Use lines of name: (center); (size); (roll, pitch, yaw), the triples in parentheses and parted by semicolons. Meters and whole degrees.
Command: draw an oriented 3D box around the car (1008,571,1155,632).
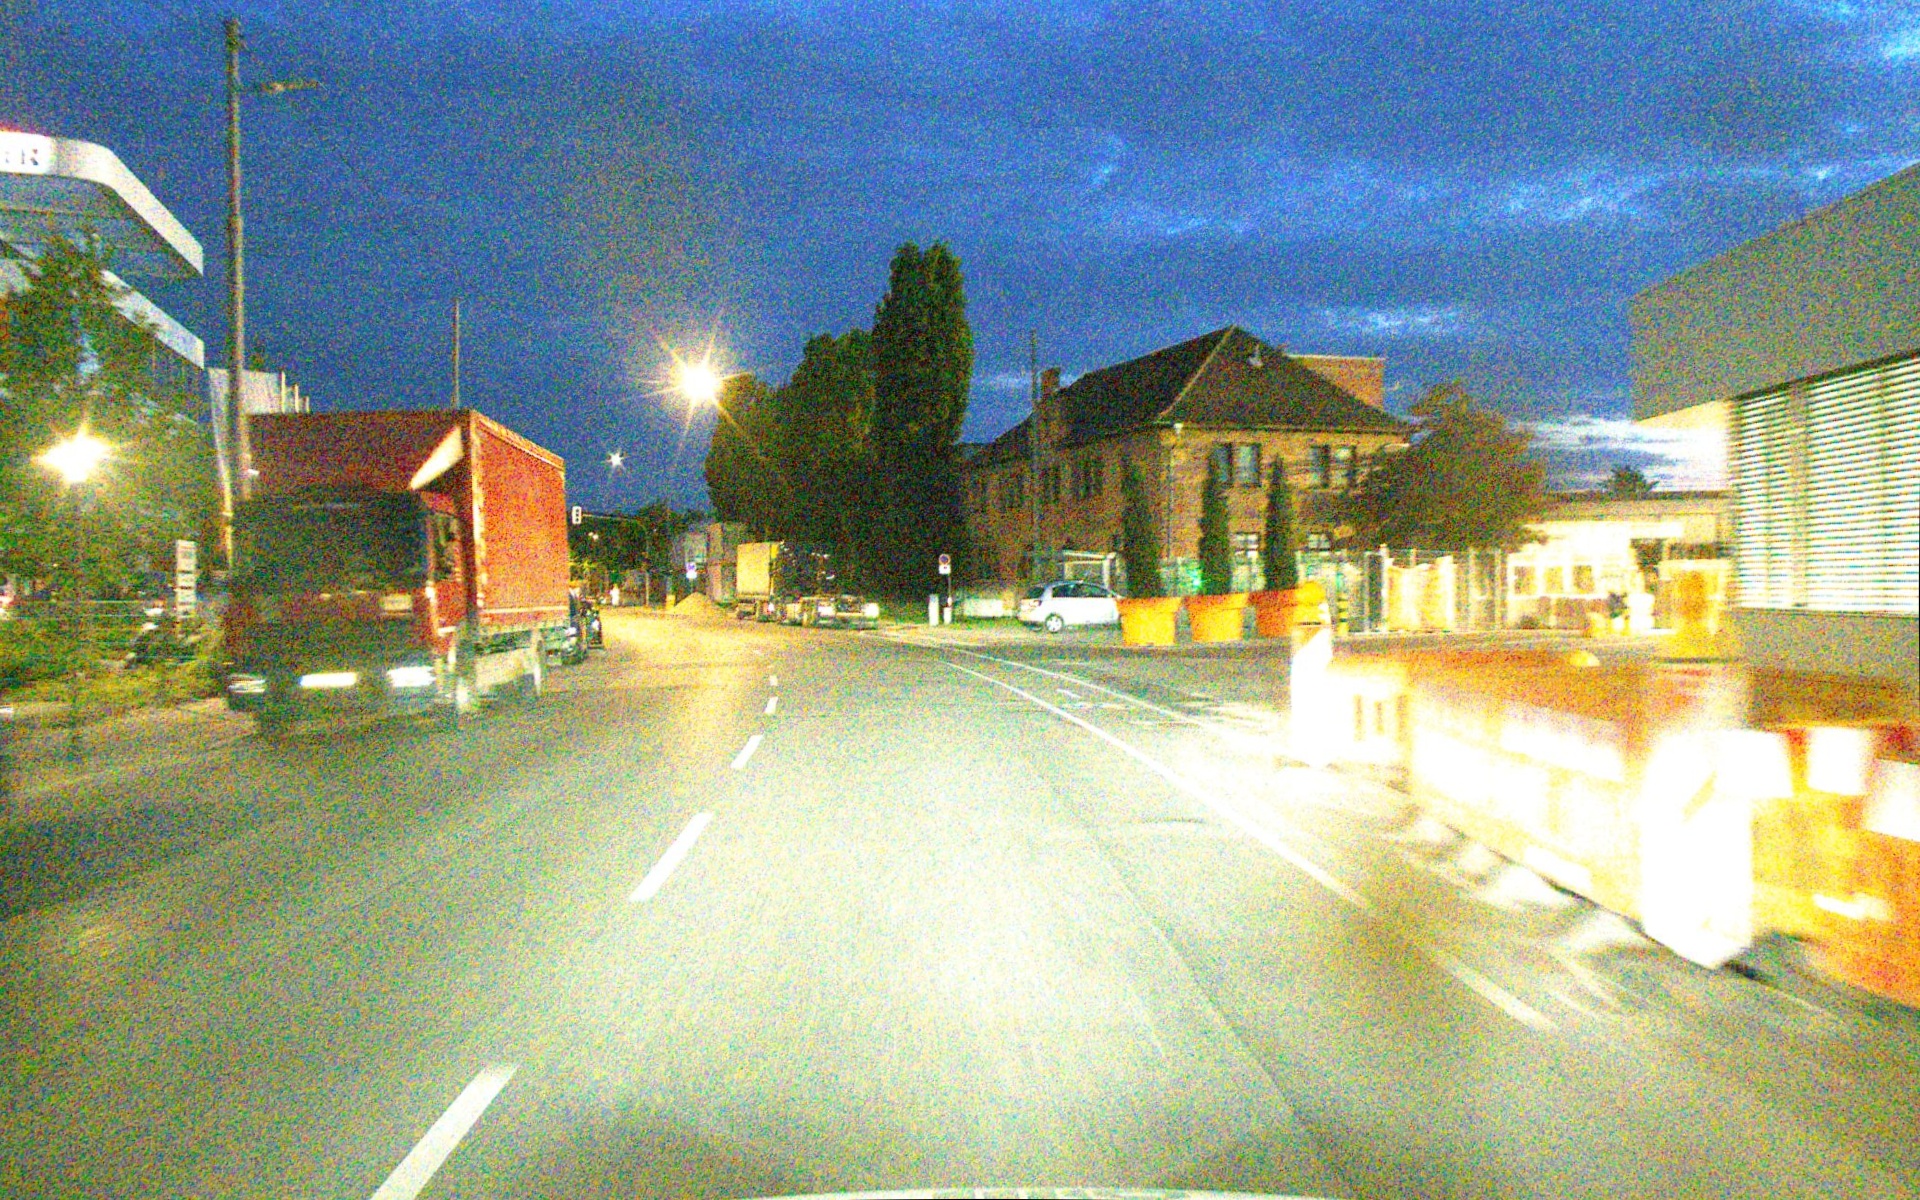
car: (3.879, 0.026, 52.920); (4.263, 1.674, 1.881); (-3, 2, -20)

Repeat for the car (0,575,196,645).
car: (-19.624, 0.209, 36.972); (4.331, 1.508, 1.885); (0, 0, -15)

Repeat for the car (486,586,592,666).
car: (-9.110, 0.506, 36.096); (1.832, 1.620, 4.485); (0, 1, -9)

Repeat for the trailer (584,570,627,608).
trailer: (-28.191, -0.830, 131.511); (2.577, 2.895, 4.677); (1, -1, -22)

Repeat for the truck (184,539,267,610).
truck: (-42.958, -1.457, 96.809); (2.998, 4.001, 4.500); (1, 0, -4)

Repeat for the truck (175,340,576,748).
truck: (-7.110, -0.628, 21.776); (2.718, 4.192, 9.331); (-1, 0, -5)

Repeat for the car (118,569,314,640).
car: (-19.957, 0.110, 44.589); (4.531, 1.847, 1.954); (0, 0, -15)

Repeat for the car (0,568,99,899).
car: (-5.958, 0.727, 7.155); (1.905, 1.747, 5.196); (-1, 1, -2)

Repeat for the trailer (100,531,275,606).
trailer: (-47.597, -1.850, 102.735); (2.994, 4.221, 15.009); (1, 0, 3)

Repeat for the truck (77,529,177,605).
truck: (-47.979, -1.866, 95.432); (2.994, 4.221, 4.938); (1, 0, 3)

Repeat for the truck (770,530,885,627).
truck: (-5.754, -0.888, 70.208); (2.713, 3.849, 9.088); (-1, 0, -19)

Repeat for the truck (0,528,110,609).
truck: (-51.812, -1.766, 94.861); (2.994, 4.433, 5.567); (1, 0, 2)

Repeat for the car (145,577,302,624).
car: (-22.686, 0.010, 51.101); (4.196, 1.418, 1.820); (0, 0, -15)

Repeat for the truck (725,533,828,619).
truck: (-8.990, -1.115, 79.781); (2.714, 3.849, 10.168); (-1, 0, -19)

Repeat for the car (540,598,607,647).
car: (-11.823, 0.649, 50.458); (1.785, 1.395, 4.342); (0, 1, -16)

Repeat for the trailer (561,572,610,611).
trailer: (-32.864, -0.707, 145.166); (3.433, 3.275, 4.831); (1, -1, -23)

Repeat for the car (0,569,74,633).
car: (-23.488, 0.026, 38.937); (4.332, 1.478, 1.820); (0, 0, -16)

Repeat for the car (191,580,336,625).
car: (-23.756, 0.062, 56.568); (4.331, 1.504, 1.843); (0, 0, -15)

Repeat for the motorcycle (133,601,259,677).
motorcycle: (-11.889, 0.611, 25.769); (1.674, 1.121, 0.524); (3, -2, -37)
